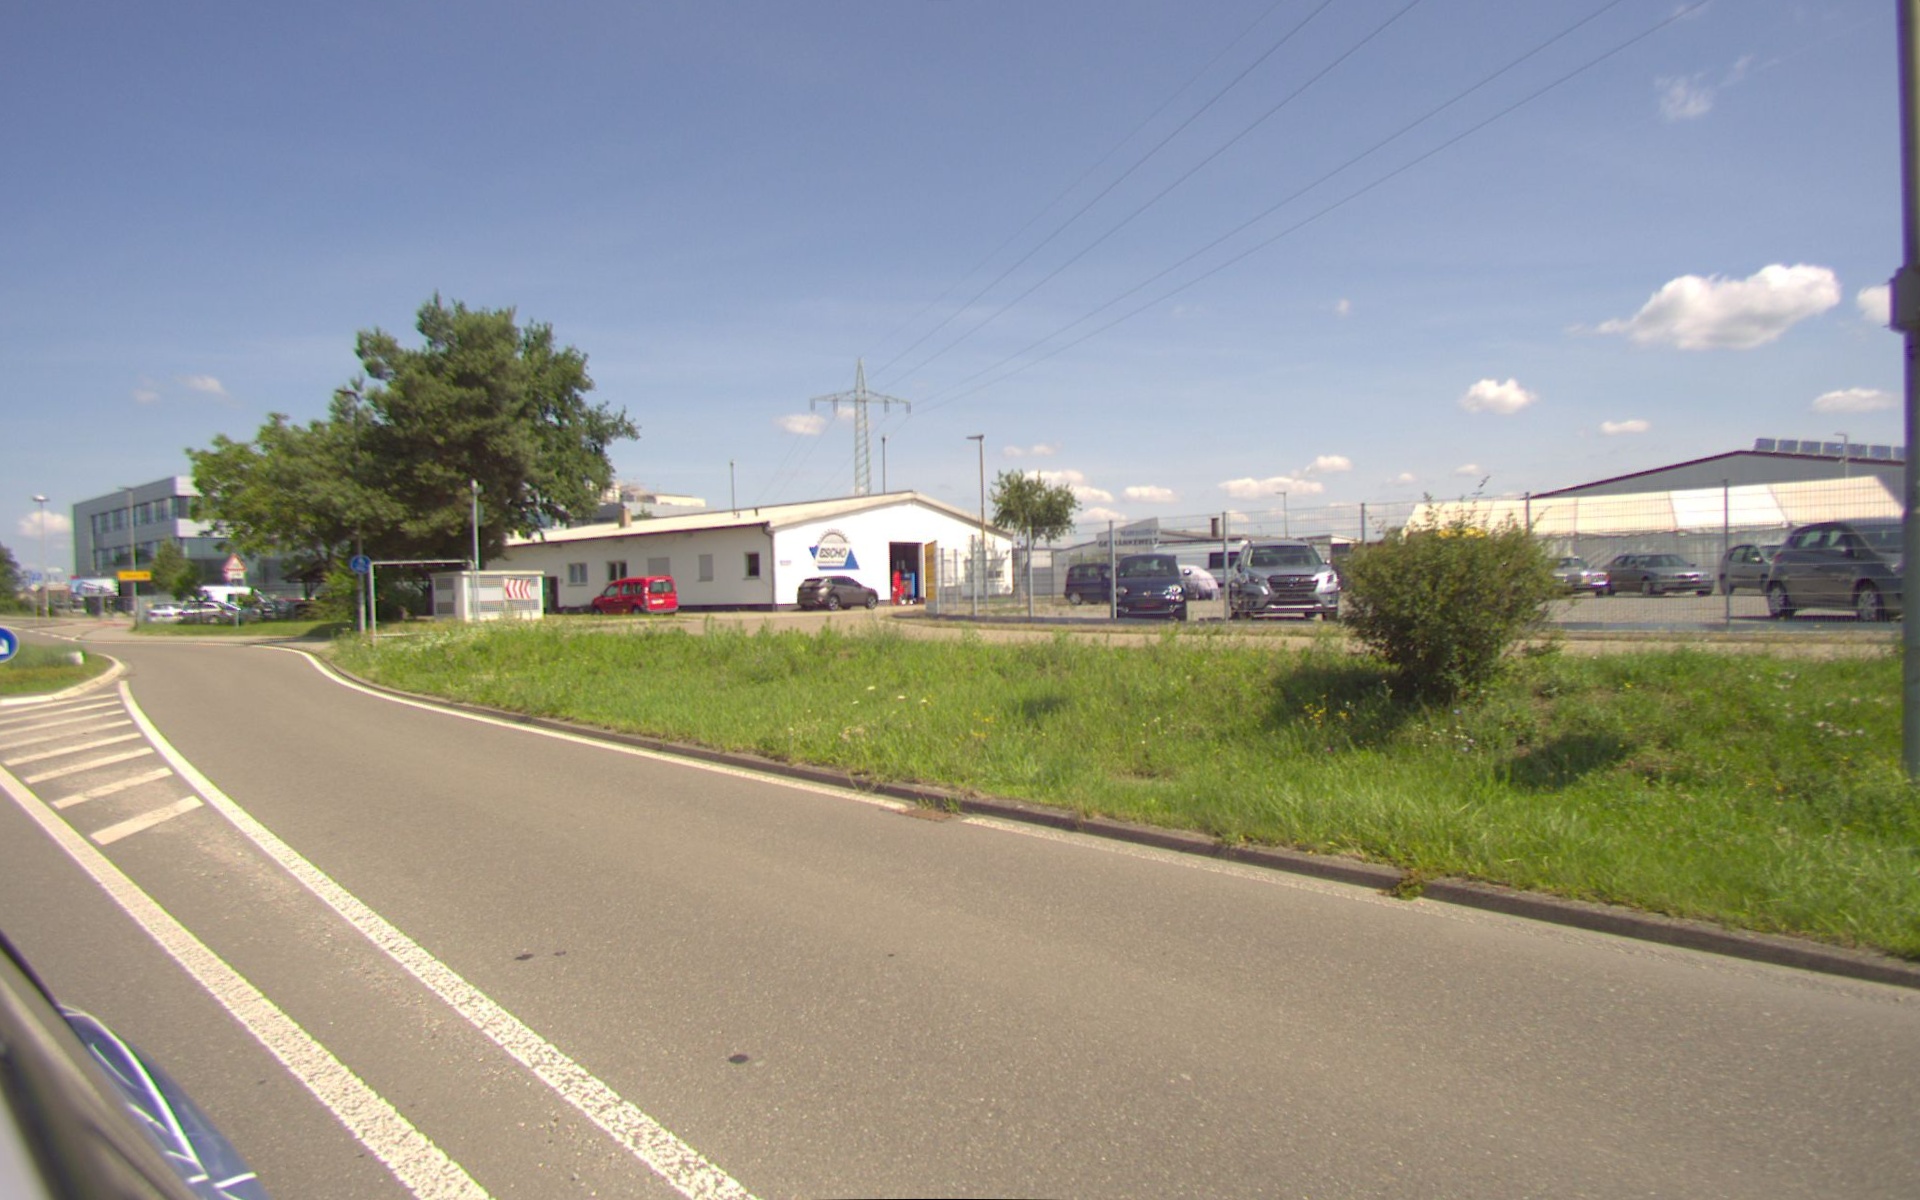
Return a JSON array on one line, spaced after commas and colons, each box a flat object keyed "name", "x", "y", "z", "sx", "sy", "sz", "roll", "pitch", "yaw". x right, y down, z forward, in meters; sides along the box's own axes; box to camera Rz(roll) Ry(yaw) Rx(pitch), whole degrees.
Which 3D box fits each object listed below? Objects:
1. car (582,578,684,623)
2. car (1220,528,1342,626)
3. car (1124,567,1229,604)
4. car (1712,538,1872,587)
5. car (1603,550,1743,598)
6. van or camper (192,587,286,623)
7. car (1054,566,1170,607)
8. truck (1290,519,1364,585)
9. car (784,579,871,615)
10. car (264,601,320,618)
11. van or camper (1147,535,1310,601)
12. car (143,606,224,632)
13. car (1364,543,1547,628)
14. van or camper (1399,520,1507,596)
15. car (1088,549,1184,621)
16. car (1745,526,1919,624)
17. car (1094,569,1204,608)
[{"name": "car", "x": -13.622, "y": 0.031, "z": 42.098, "sx": 4.222, "sy": 1.757, "sz": 1.975, "roll": -1, "pitch": 1, "yaw": 37}, {"name": "car", "x": 6.350, "y": -0.465, "z": 20.414, "sx": 1.704, "sy": 1.717, "sz": 4.097, "roll": -2, "pitch": 1, "yaw": 9}, {"name": "car", "x": 9.292, "y": -0.624, "z": 43.593, "sx": 3.995, "sy": 1.444, "sz": 1.901, "roll": -1, "pitch": 1, "yaw": 39}, {"name": "car", "x": 24.794, "y": -1.099, "z": 30.364, "sx": 1.921, "sy": 1.320, "sz": 3.989, "roll": -2, "pitch": 1, "yaw": 9}, {"name": "car", "x": 21.863, "y": -0.789, "z": 31.238, "sx": 1.921, "sy": 1.320, "sz": 3.989, "roll": -2, "pitch": 1, "yaw": 9}, {"name": "van or camper", "x": -54.873, "y": 0.369, "z": 77.141, "sx": 5.492, "sy": 2.516, "sz": 2.086, "roll": -2, "pitch": 1, "yaw": -24}, {"name": "car", "x": 5.892, "y": -0.519, "z": 39.355, "sx": 3.988, "sy": 1.444, "sz": 1.904, "roll": -1, "pitch": 1, "yaw": 33}, {"name": "truck", "x": 27.678, "y": -3.564, "z": 76.050, "sx": 2.841, "sy": 4.551, "sz": 8.489, "roll": -1, "pitch": 1, "yaw": 36}, {"name": "car", "x": -6.157, "y": -0.166, "z": 47.500, "sx": 1.931, "sy": 1.536, "sz": 3.956, "roll": -2, "pitch": 1, "yaw": 33}, {"name": "car", "x": -58.550, "y": 0.784, "z": 88.797, "sx": 3.679, "sy": 1.331, "sz": 1.907, "roll": -2, "pitch": 1, "yaw": -18}, {"name": "van or camper", "x": 11.880, "y": -1.376, "z": 45.144, "sx": 6.763, "sy": 2.619, "sz": 1.974, "roll": -1, "pitch": 1, "yaw": 39}, {"name": "car", "x": -50.281, "y": 1.188, "z": 65.549, "sx": 2.001, "sy": 1.530, "sz": 3.942, "roll": 0, "pitch": 1, "yaw": 45}, {"name": "car", "x": 8.934, "y": -0.278, "z": 18.642, "sx": 1.921, "sy": 1.320, "sz": 3.989, "roll": -2, "pitch": 1, "yaw": 9}, {"name": "van or camper", "x": 17.076, "y": -1.418, "z": 35.387, "sx": 1.873, "sy": 2.393, "sz": 5.325, "roll": -2, "pitch": 1, "yaw": 9}, {"name": "car", "x": 3.974, "y": -0.341, "z": 22.391, "sx": 1.784, "sy": 1.412, "sz": 3.554, "roll": -2, "pitch": 1, "yaw": 15}, {"name": "car", "x": 14.056, "y": -0.415, "z": 15.154, "sx": 1.921, "sy": 1.320, "sz": 3.989, "roll": -2, "pitch": 1, "yaw": 9}, {"name": "car", "x": 7.707, "y": -0.468, "z": 41.441, "sx": 3.995, "sy": 1.444, "sz": 1.901, "roll": -1, "pitch": 1, "yaw": 39}]
